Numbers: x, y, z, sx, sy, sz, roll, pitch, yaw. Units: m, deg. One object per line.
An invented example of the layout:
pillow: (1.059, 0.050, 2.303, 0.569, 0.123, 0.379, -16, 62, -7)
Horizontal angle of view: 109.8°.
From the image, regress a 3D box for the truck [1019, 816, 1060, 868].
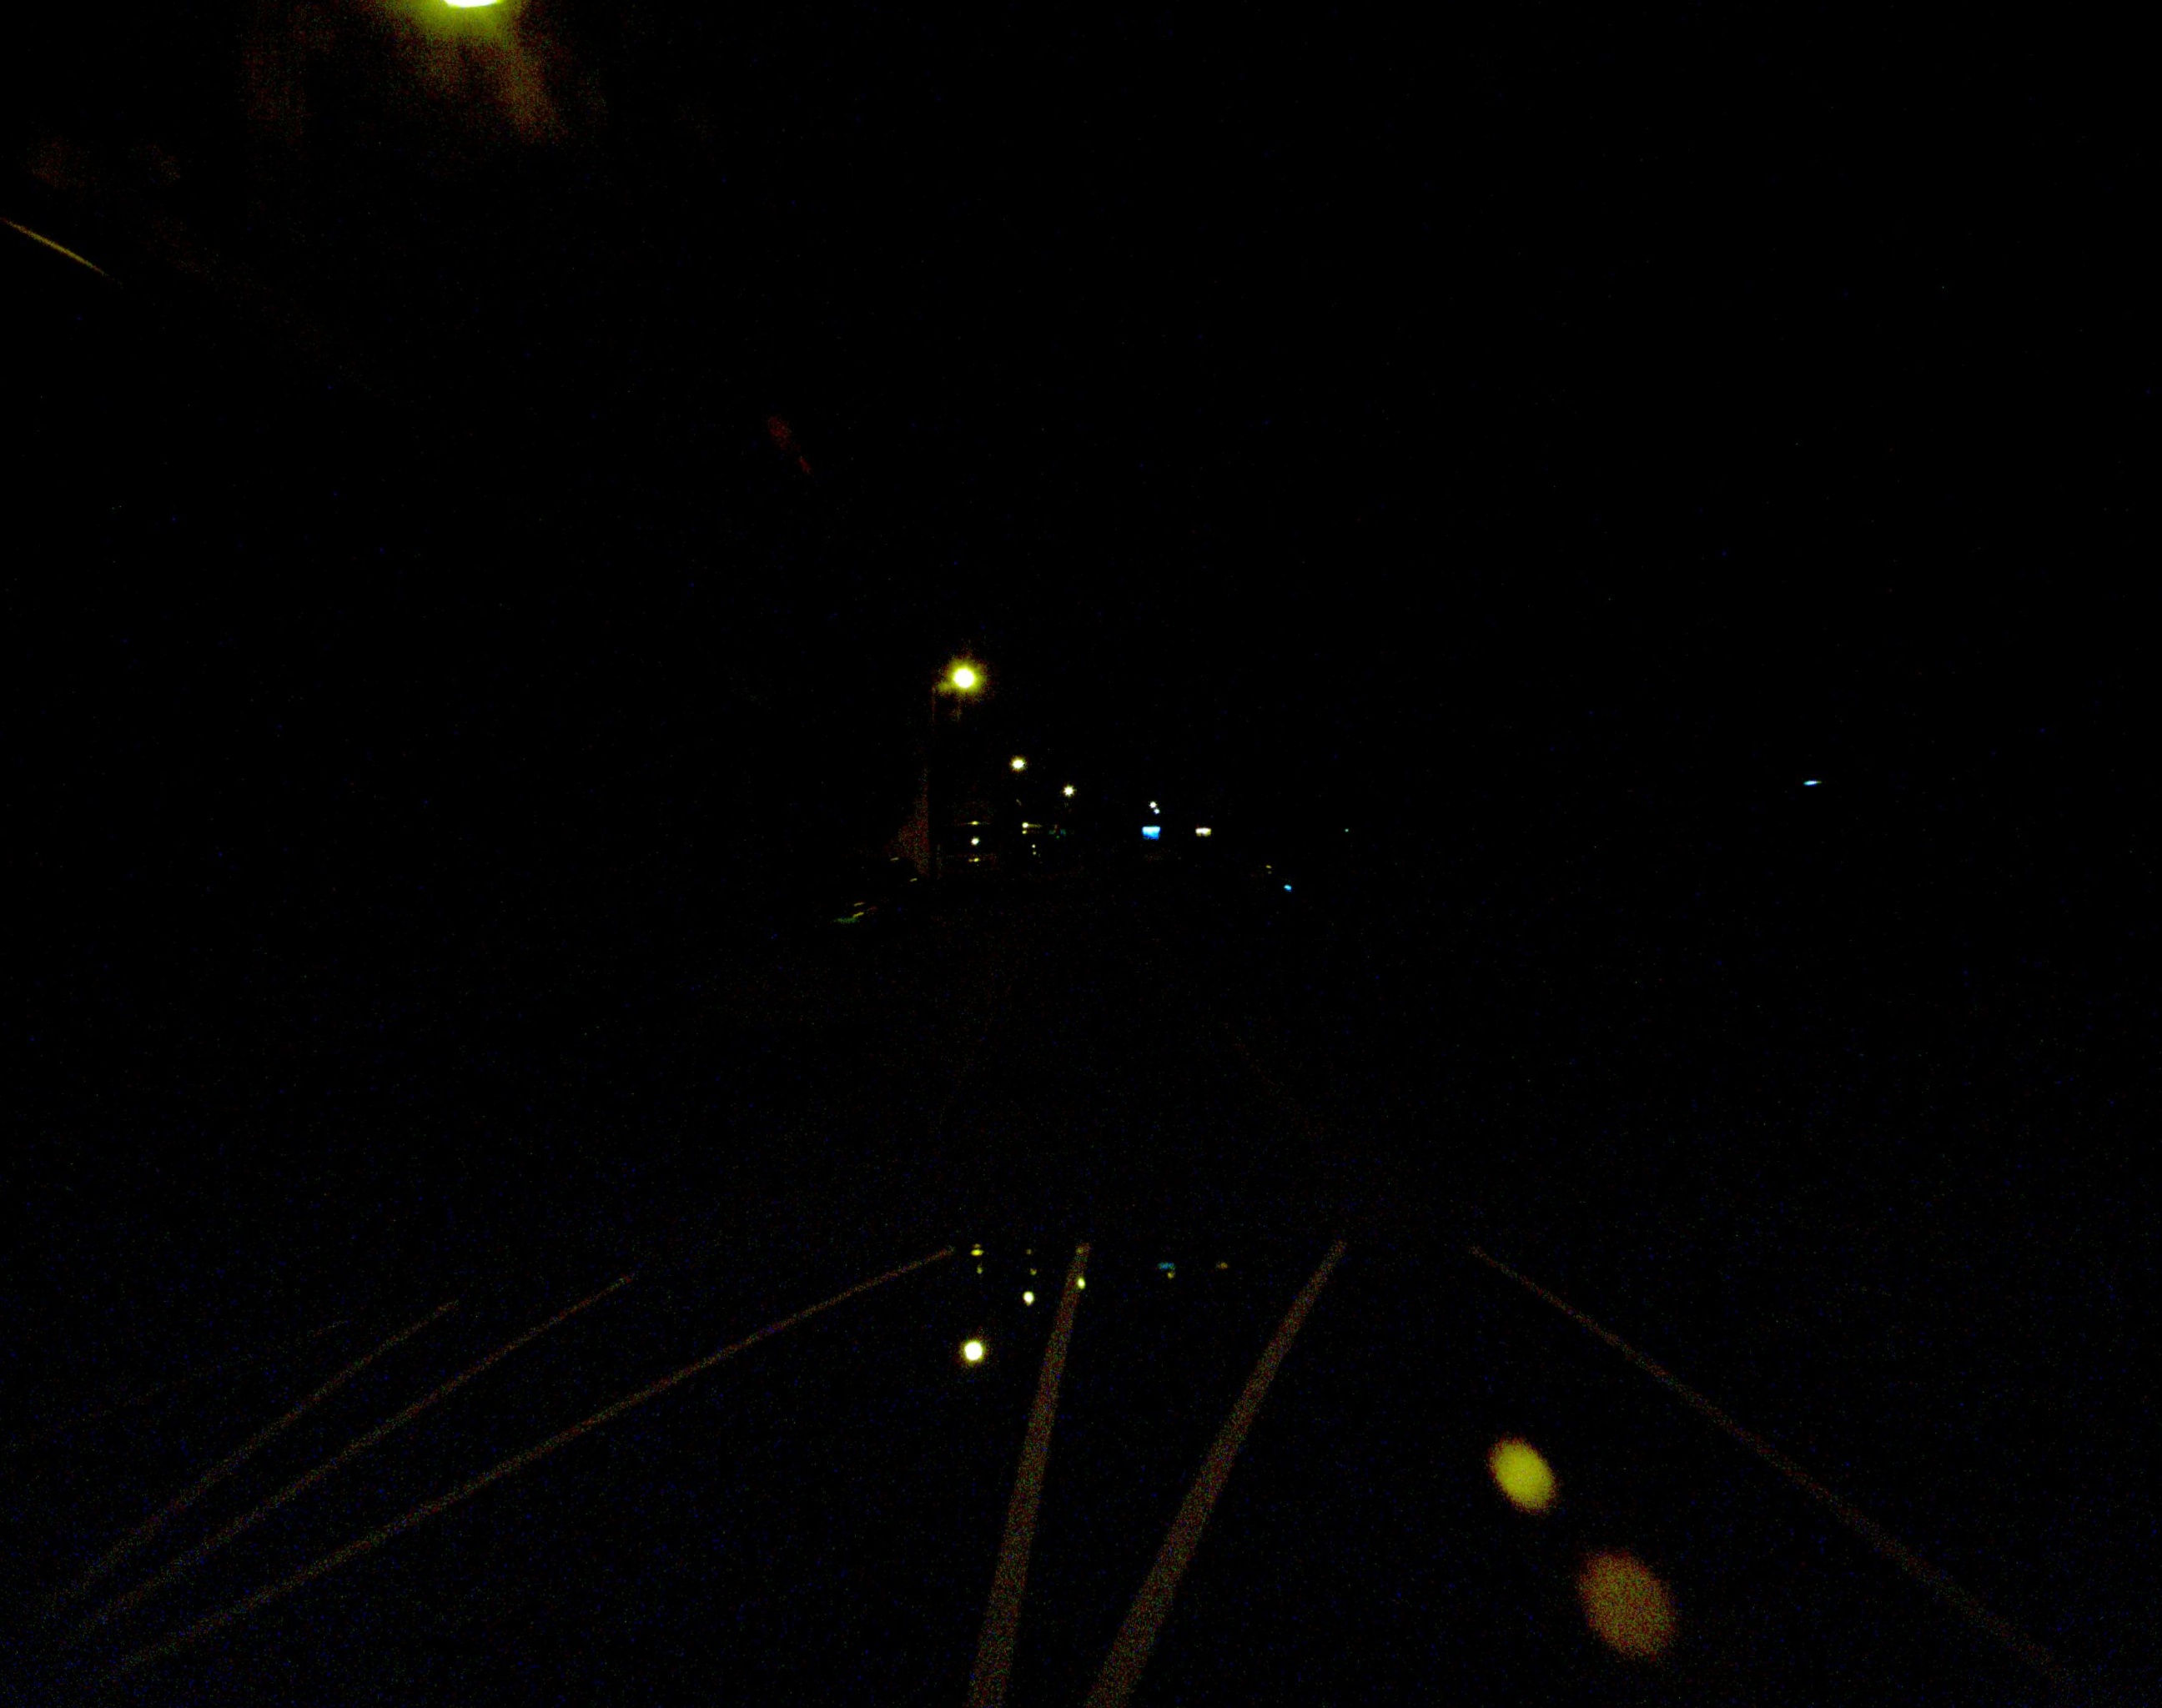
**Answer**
truck: (-3.391, -0.845, 64.600, 2.660, 3.851, 10.232, -2, -1, 1)

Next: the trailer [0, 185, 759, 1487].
trailer: (-4.359, -0.044, 2.761, 2.885, 3.504, 8.282, -1, 0, -1)

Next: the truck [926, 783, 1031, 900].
truck: (-3.881, -0.400, 31.317, 2.797, 3.947, 9.820, -2, 0, 0)

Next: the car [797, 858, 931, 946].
car: (-4.277, 0.882, 15.510, 1.685, 1.551, 3.476, -1, 0, 1)

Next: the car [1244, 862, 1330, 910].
car: (6.673, 0.995, 25.049, 1.761, 1.382, 4.309, -1, 0, 2)

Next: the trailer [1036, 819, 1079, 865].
trailer: (-2.351, -1.312, 81.886, 3.072, 4.449, 13.413, -2, 1, 5)

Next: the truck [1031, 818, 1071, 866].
truck: (-2.898, -1.215, 75.125, 3.072, 4.449, 5.635, -2, 1, 5)

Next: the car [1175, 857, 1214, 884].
car: (6.526, 0.912, 43.983, 1.690, 1.357, 3.879, -2, 1, 1)

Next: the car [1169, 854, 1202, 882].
car: (6.697, 0.869, 48.826, 1.590, 1.591, 3.781, -2, 1, 1)
